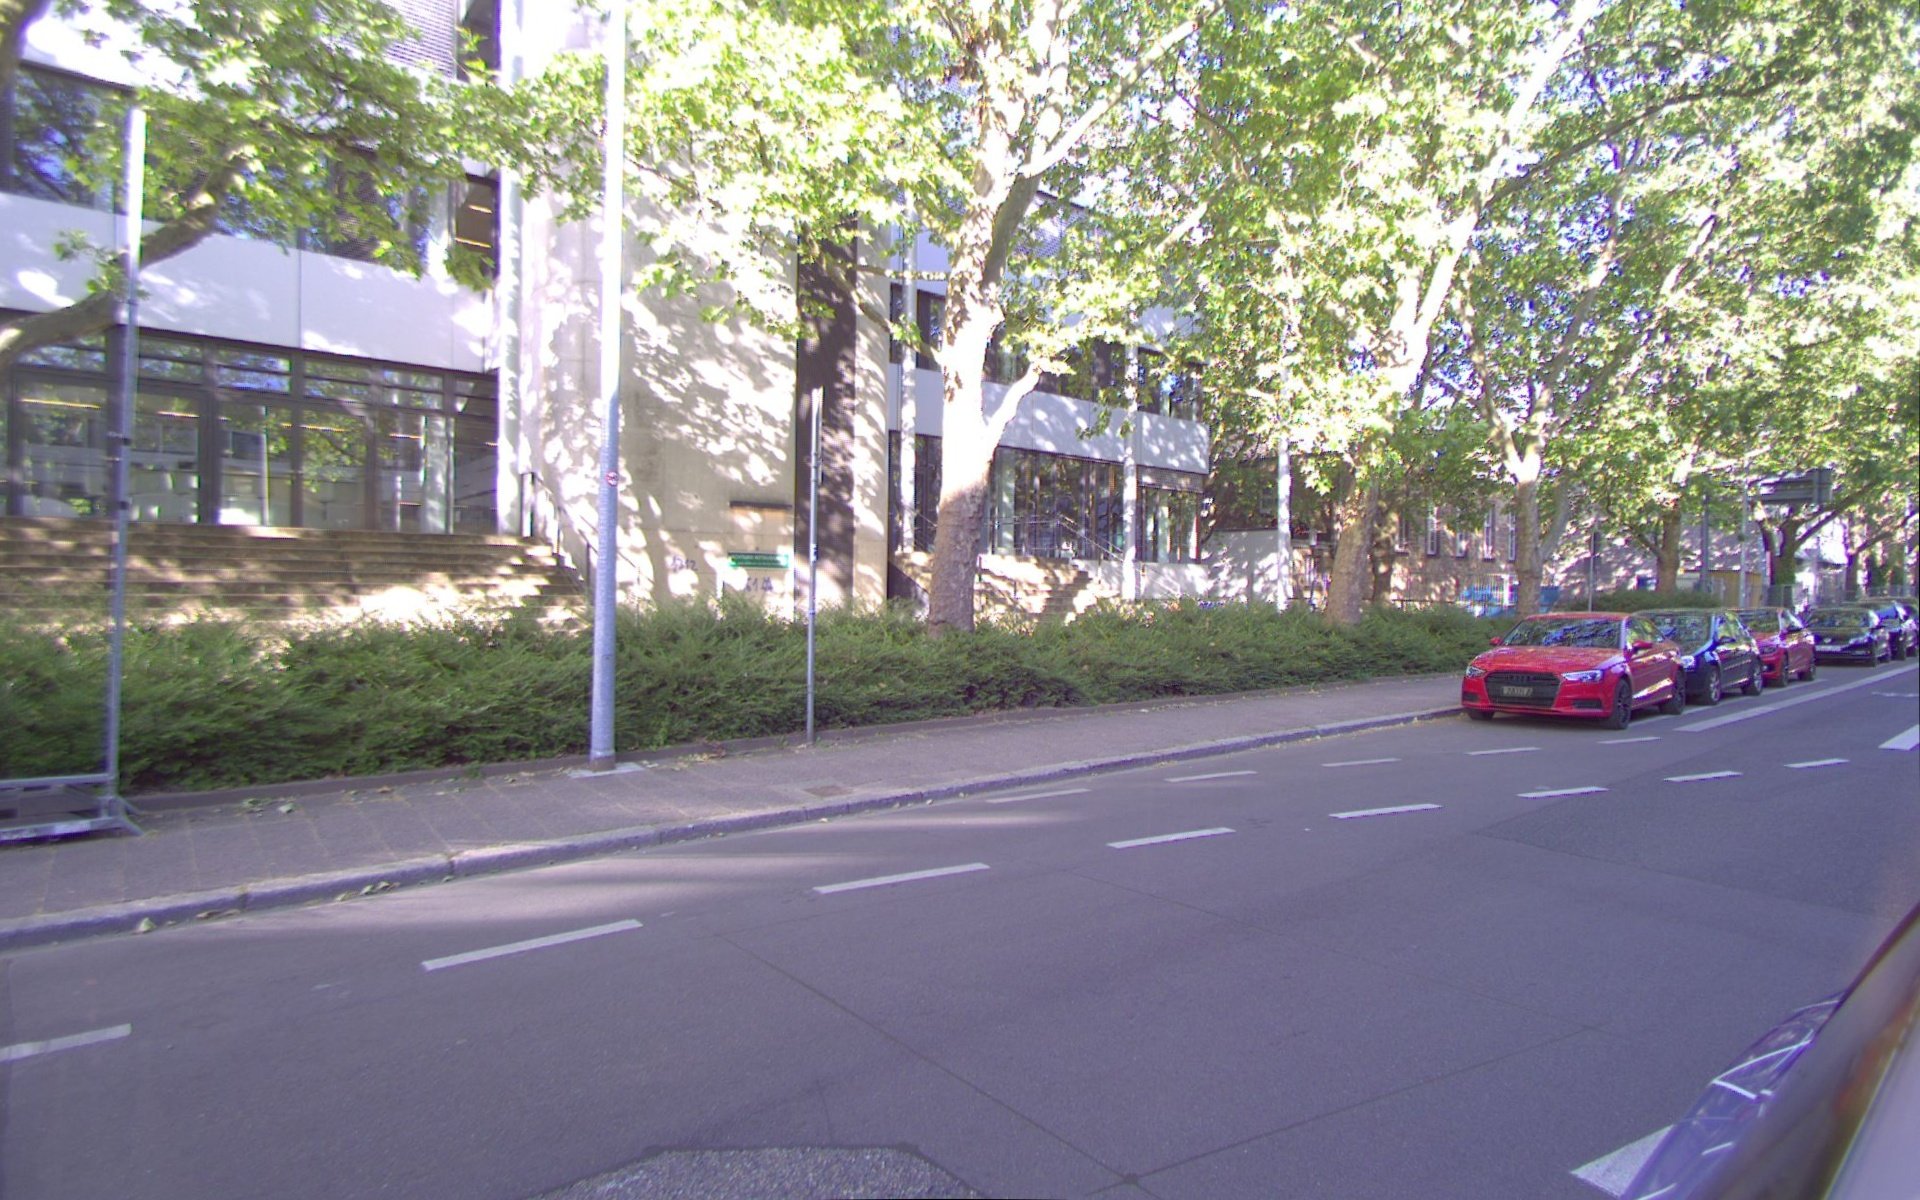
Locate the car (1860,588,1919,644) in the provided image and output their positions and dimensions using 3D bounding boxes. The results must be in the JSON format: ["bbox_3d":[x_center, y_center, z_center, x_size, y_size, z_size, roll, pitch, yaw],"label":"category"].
[{"bbox_3d":[31.081,0.480,33.060,4.188,1.747,1.997,-1,0,-41],"label":"car"}]

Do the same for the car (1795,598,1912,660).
[{"bbox_3d":[22.983,0.680,26.002,3.930,1.456,1.744,0,1,-41],"label":"car"}]

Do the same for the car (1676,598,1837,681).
[{"bbox_3d":[15.765,0.694,19.980,3.930,1.456,1.789,0,1,-41],"label":"car"}]

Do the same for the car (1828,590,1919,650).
[{"bbox_3d":[26.646,0.523,29.199,4.158,1.601,1.847,0,1,-41],"label":"car"}]

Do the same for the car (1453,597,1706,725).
[{"bbox_3d":[8.346,0.697,13.498,4.101,1.443,1.773,0,-1,-42],"label":"car"}]

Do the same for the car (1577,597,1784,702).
[{"bbox_3d":[11.811,0.709,16.512,3.929,1.475,1.812,0,1,-40],"label":"car"}]

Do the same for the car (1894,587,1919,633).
[{"bbox_3d":[35.739,0.360,37.082,4.004,1.638,1.797,0,1,-41],"label":"car"}]
